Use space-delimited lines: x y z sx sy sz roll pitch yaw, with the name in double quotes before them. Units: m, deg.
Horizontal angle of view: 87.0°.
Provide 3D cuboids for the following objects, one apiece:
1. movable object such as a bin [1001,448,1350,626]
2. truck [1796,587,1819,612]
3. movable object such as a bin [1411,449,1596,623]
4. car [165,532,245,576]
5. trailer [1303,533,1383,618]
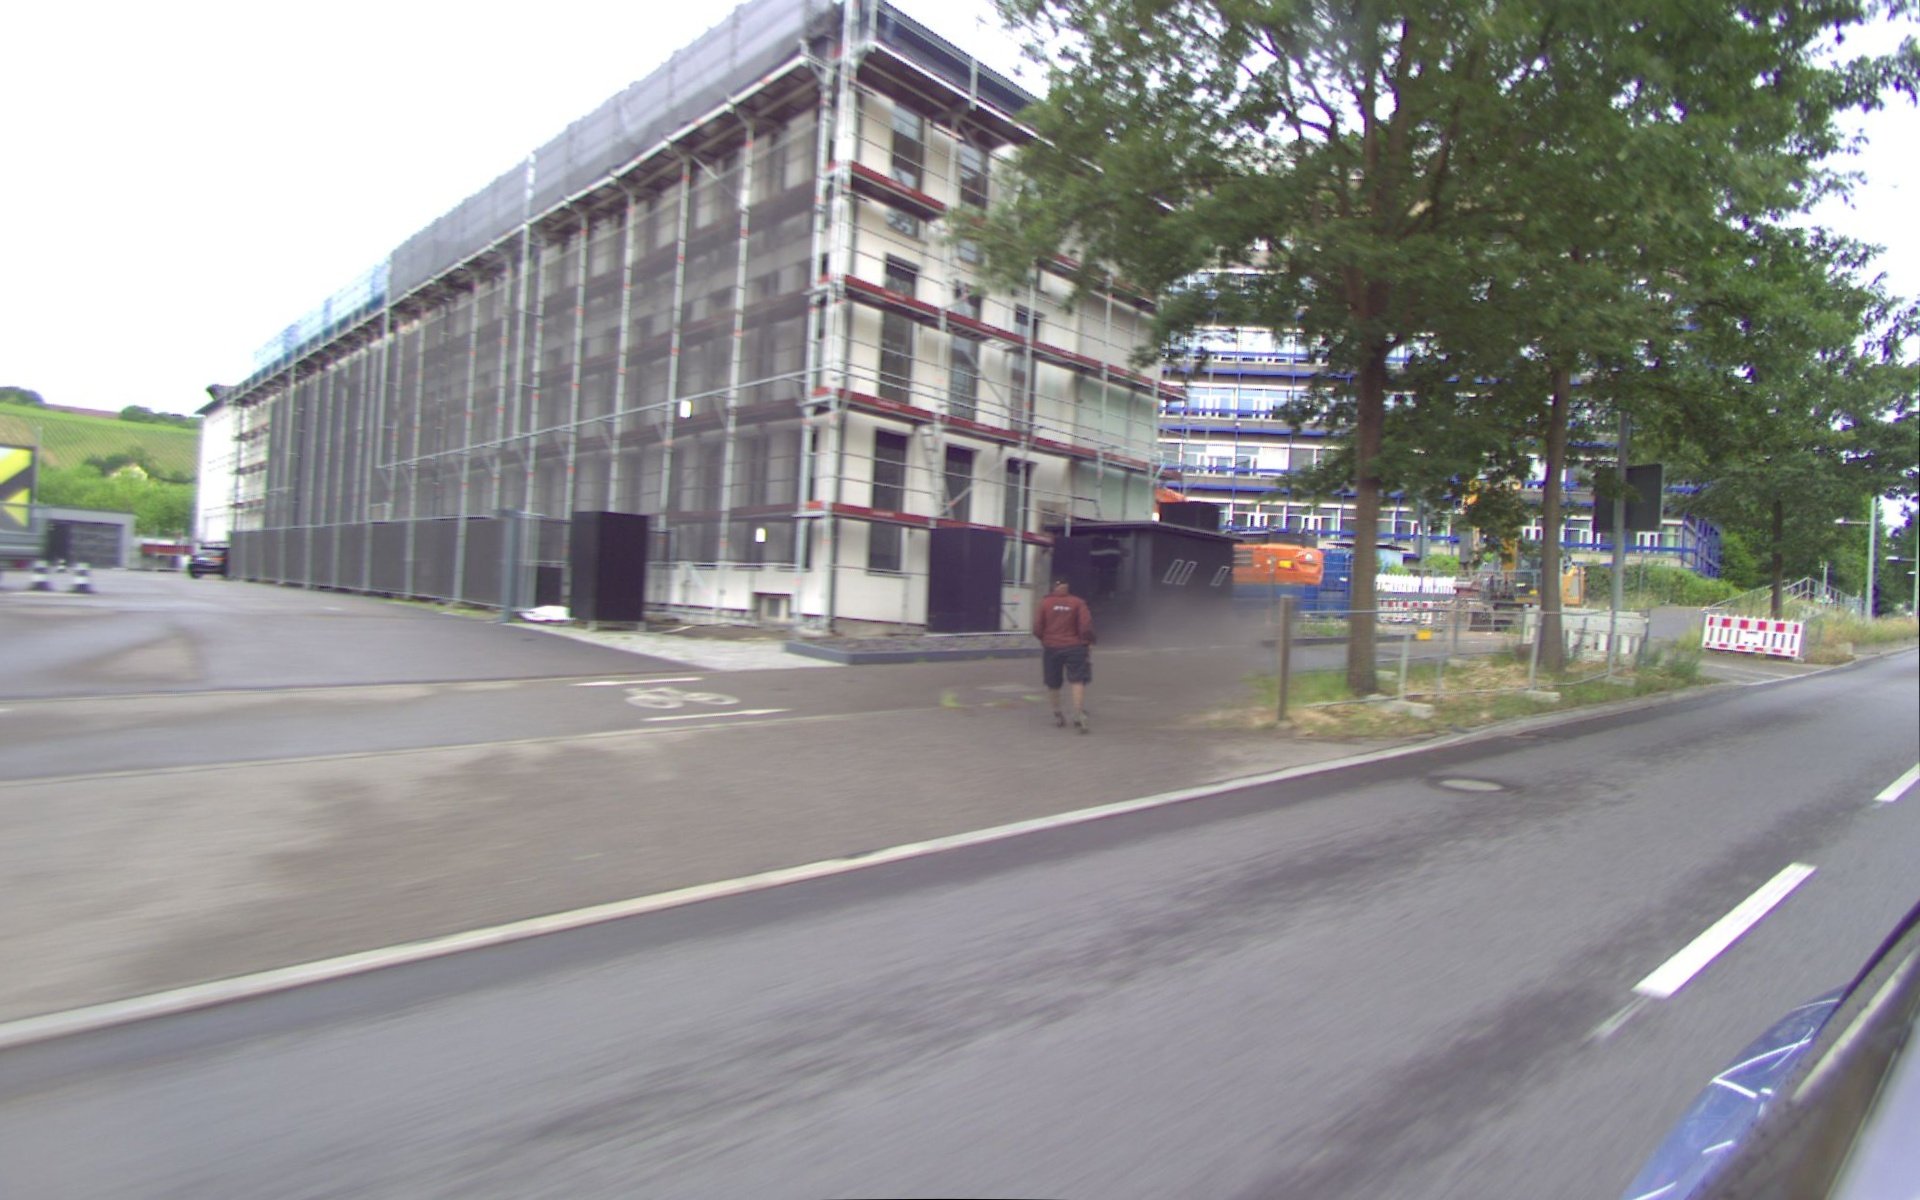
"movable object such as a bin" 7.137 -2.133 36.082 3.726 5.326 12.156 0 2 -43
"truck" 88.116 -0.090 105.190 1.745 2.549 3.939 0 0 42
"movable object such as a bin" 20.332 -2.145 37.578 8.612 5.757 3.295 0 0 -42
"car" -33.516 -2.007 45.036 1.958 1.772 4.007 0 0 -23
"trailer" 15.561 -0.911 40.826 2.617 3.081 7.438 0 0 24
